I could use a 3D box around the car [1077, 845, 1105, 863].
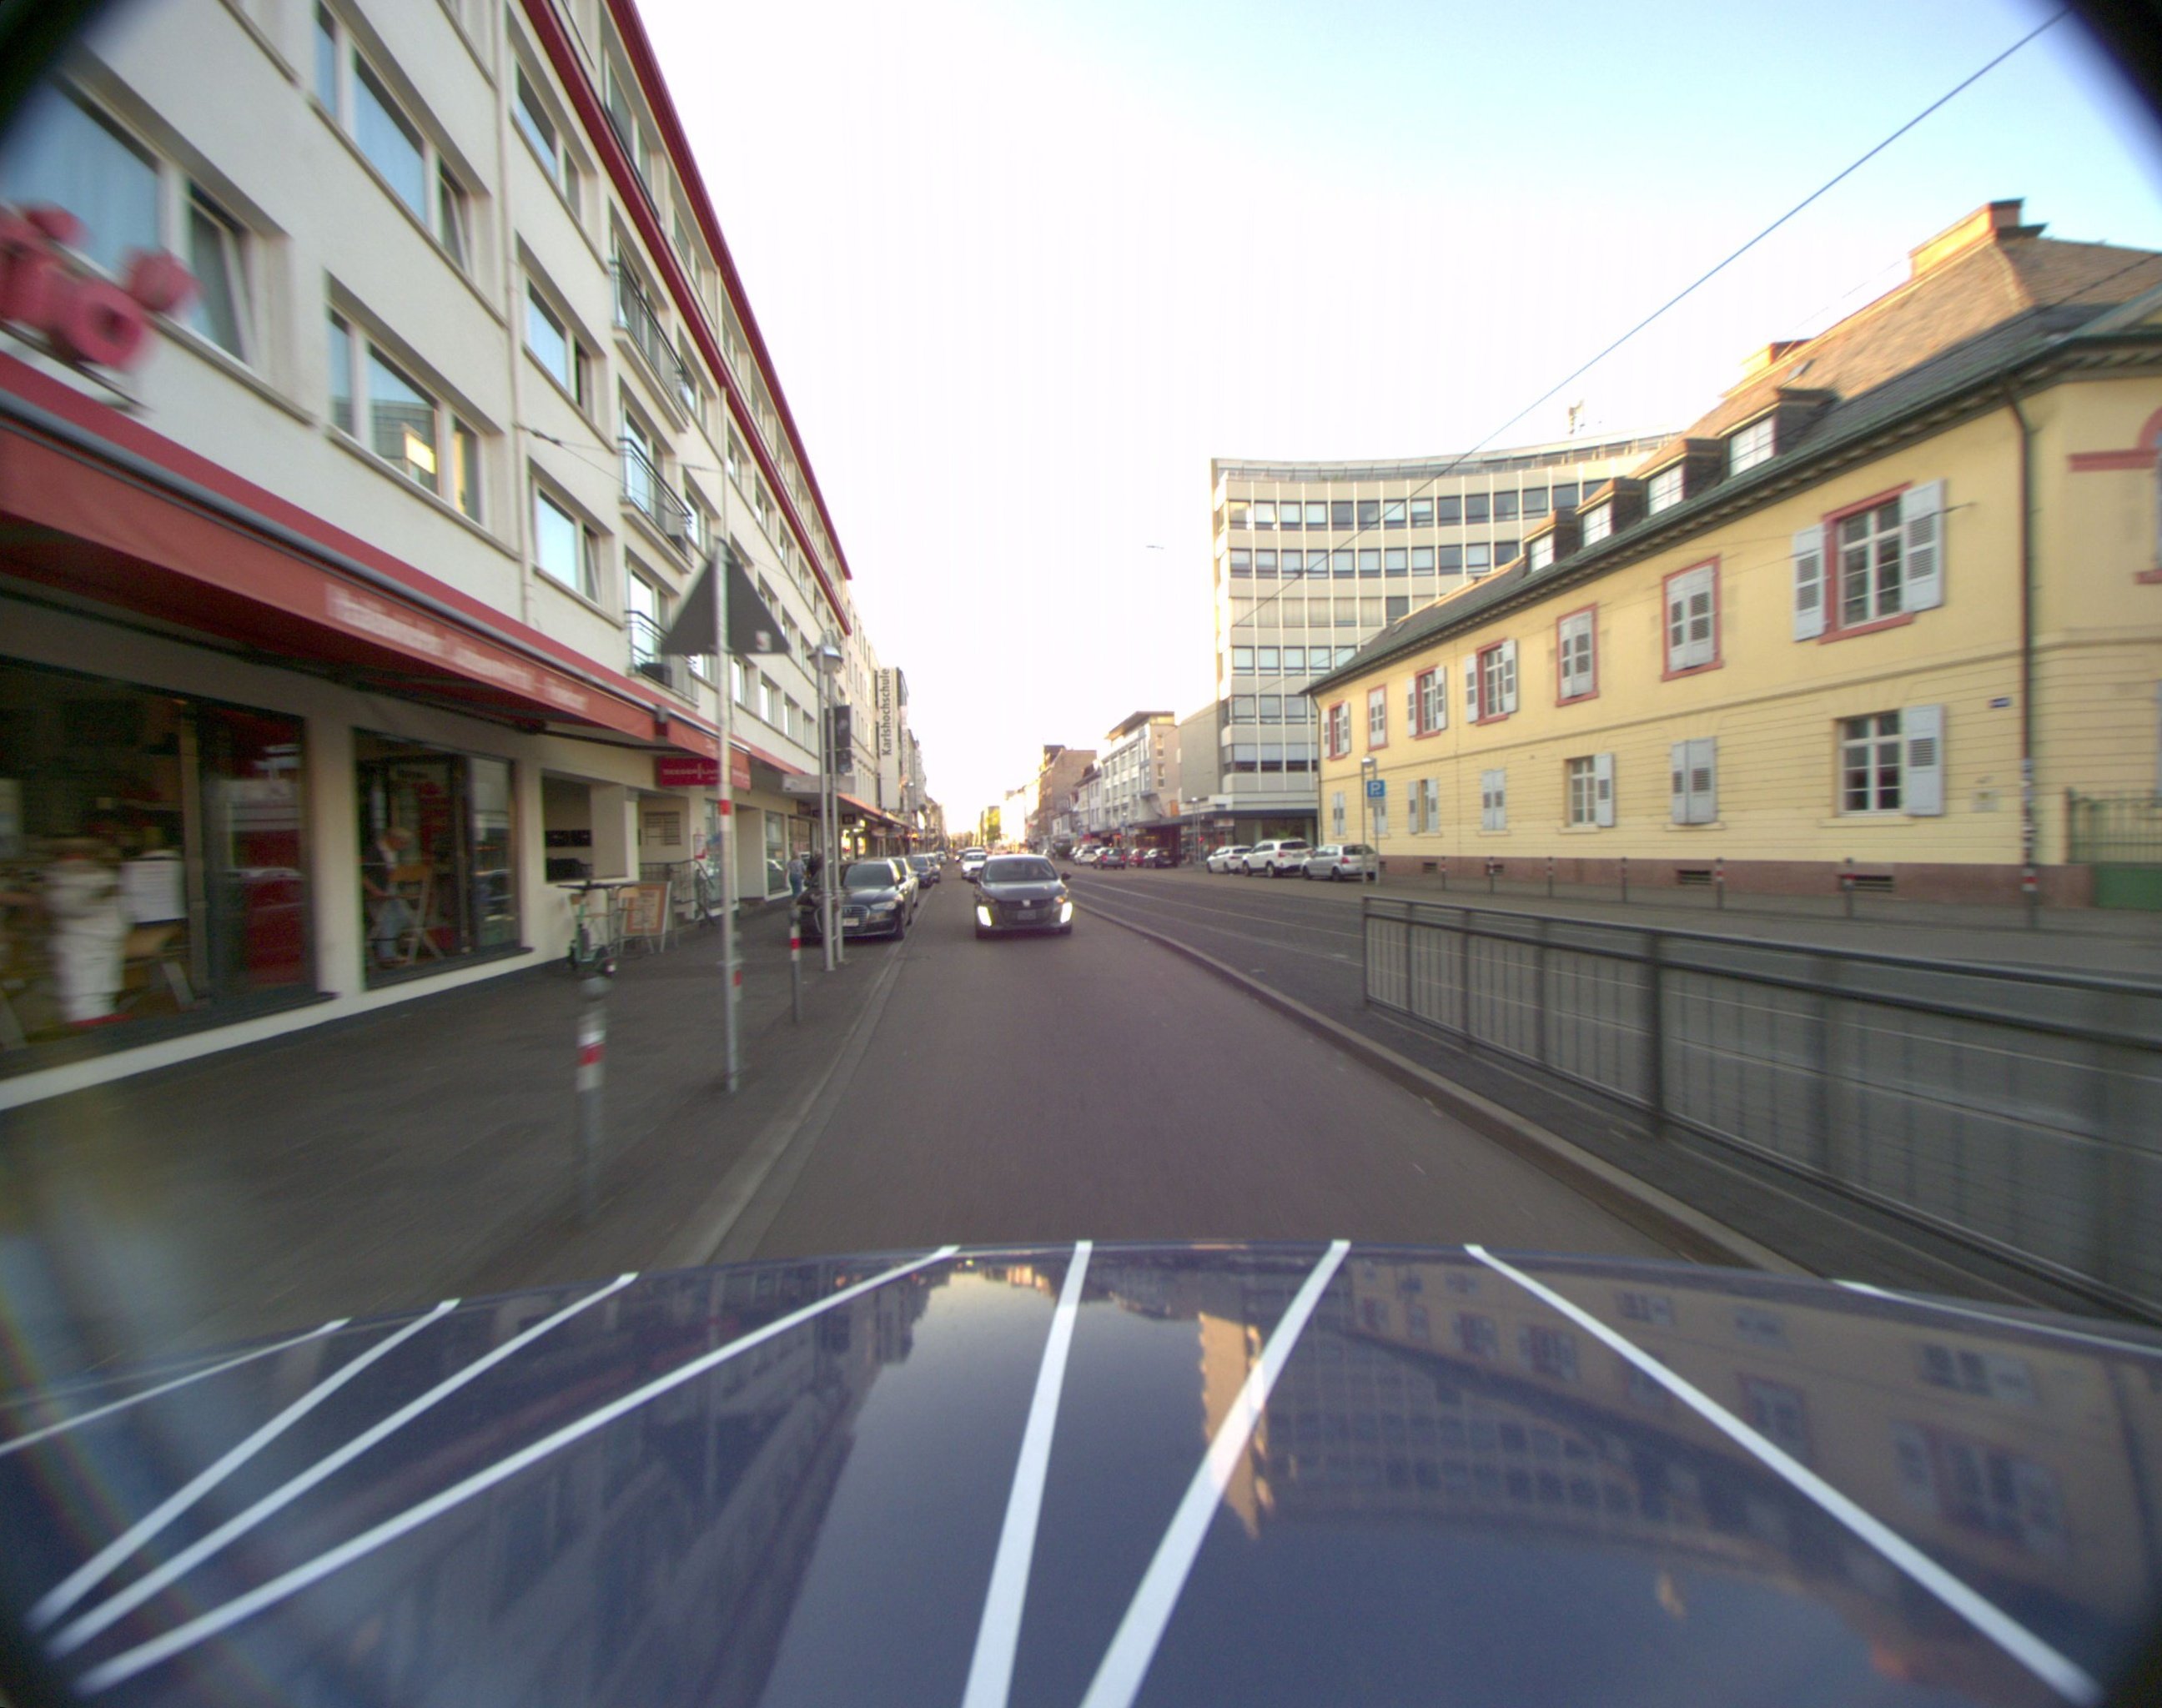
[{"bbox_3d":[0.838,-0.053,66.601,1.812,1.503,4.031,0,1,-8],"label":"car"}]

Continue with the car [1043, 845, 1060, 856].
[{"bbox_3d":[-4.571,-0.528,117.523,2.000,1.536,4.874,-3,1,-9],"label":"car"}]

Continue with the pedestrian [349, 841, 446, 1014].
[{"bbox_3d":[-7.242,0.744,8.062,0.525,1.750,0.605,-1,2,36],"label":"pedestrian"}]

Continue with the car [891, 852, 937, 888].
[{"bbox_3d":[-7.456,0.672,34.288,1.741,1.503,4.299,0,1,-9],"label":"car"}]

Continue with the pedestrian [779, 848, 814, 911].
[{"bbox_3d":[-7.971,0.702,21.311,0.731,1.731,0.862,0,1,-9],"label":"pedestrian"}]

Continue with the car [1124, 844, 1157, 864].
[{"bbox_3d":[4.689,-0.029,60.259,1.691,1.503,4.211,1,1,-9],"label":"car"}]

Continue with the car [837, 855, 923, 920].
[{"bbox_3d":[-5.259,0.814,20.313,1.791,1.503,4.048,0,1,-9],"label":"car"}]

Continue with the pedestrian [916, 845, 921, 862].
[{"bbox_3d":[-18.088,-0.026,84.454,0.456,1.888,0.421,-1,1,-10],"label":"pedestrian"}]

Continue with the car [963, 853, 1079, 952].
[{"bbox_3d":[-1.308,0.796,14.742,1.733,1.513,4.329,-3,1,-10],"label":"car"}]

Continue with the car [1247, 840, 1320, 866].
[{"bbox_3d":[12.642,-0.082,47.454,3.999,1.458,1.844,-1,1,-7],"label":"car"}]

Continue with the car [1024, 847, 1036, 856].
[{"bbox_3d":[-10.085,-0.513,149.625,2.000,1.543,4.202,-2,1,-9],"label":"car"}]

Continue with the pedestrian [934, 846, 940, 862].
[{"bbox_3d":[-16.031,0.001,84.871,0.606,1.717,0.645,-1,1,-10],"label":"pedestrian"}]

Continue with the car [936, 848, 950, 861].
[{"bbox_3d":[-17.217,0.055,94.948,1.683,1.534,3.882,0,1,-9],"label":"car"}]

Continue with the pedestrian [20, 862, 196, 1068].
[{"bbox_3d":[-6.844,0.744,5.375,0.523,1.351,0.504,-2,2,-20],"label":"pedestrian"}]

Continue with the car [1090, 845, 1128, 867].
[{"bbox_3d":[1.994,0.133,55.408,1.741,1.503,4.030,-2,1,-12],"label":"car"}]

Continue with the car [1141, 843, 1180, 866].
[{"bbox_3d":[5.687,0.029,54.878,1.691,1.503,4.211,-2,1,-9],"label":"car"}]

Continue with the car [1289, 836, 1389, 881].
[{"bbox_3d":[10.023,0.143,29.854,1.819,1.608,4.210,-2,1,-12],"label":"car"}]

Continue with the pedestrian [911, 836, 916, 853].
[{"bbox_3d":[-18.806,-1.084,85.173,0.453,1.888,0.421,-1,1,-10],"label":"pedestrian"}]

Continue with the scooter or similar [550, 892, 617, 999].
[{"bbox_3d":[-6.167,1.098,9.399,1.245,1.195,0.357,-1,2,43],"label":"scooter or similar"}]

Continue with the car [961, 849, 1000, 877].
[{"bbox_3d":[-5.751,0.452,43.177,2.000,1.450,3.996,-2,1,-10],"label":"car"}]

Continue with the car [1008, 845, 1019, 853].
[{"bbox_3d":[-13.768,-1.090,155.380,2.000,1.543,3.996,-2,1,-9],"label":"car"}]

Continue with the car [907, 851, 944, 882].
[{"bbox_3d":[-8.193,0.618,40.300,1.796,1.503,4.707,0,1,-10],"label":"car"}]

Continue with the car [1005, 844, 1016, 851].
[{"bbox_3d":[-15.191,-1.396,163.205,2.000,1.543,3.996,-2,1,-9],"label":"car"}]

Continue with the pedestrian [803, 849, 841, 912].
[{"bbox_3d":[-7.124,0.705,20.936,0.829,1.708,0.842,0,1,-9],"label":"pedestrian"}]

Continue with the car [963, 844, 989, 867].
[{"bbox_3d":[-9.055,0.107,65.282,2.000,1.805,3.995,-2,1,-11],"label":"car"}]

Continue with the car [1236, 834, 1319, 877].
[{"bbox_3d":[8.951,0.043,34.992,1.819,1.775,4.492,-4,1,-12],"label":"car"}]

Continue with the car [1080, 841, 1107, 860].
[{"bbox_3d":[1.312,-0.420,83.452,1.962,1.966,5.157,-1,1,-10],"label":"car"}]

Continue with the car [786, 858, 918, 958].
[{"bbox_3d":[-4.137,0.859,14.431,1.741,1.503,4.681,0,1,-9],"label":"car"}]

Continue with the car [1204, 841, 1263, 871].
[{"bbox_3d":[8.174,0.084,41.136,1.818,1.503,4.428,-1,1,-8],"label":"car"}]

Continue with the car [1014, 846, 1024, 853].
[{"bbox_3d":[-13.957,-0.975,170.705,2.000,1.543,3.996,-2,1,-9],"label":"car"}]

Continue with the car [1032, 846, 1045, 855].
[{"bbox_3d":[-7.689,-0.701,137.860,2.000,1.543,3.996,-2,1,-9],"label":"car"}]

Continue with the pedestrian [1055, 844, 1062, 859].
[{"bbox_3d":[-3.125,-0.314,105.577,0.823,2.002,0.712,-1,1,6],"label":"pedestrian"}]

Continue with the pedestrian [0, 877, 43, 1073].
[{"bbox_3d":[-7.004,0.763,4.667,0.523,1.210,0.503,-2,2,-26],"label":"pedestrian"}]
